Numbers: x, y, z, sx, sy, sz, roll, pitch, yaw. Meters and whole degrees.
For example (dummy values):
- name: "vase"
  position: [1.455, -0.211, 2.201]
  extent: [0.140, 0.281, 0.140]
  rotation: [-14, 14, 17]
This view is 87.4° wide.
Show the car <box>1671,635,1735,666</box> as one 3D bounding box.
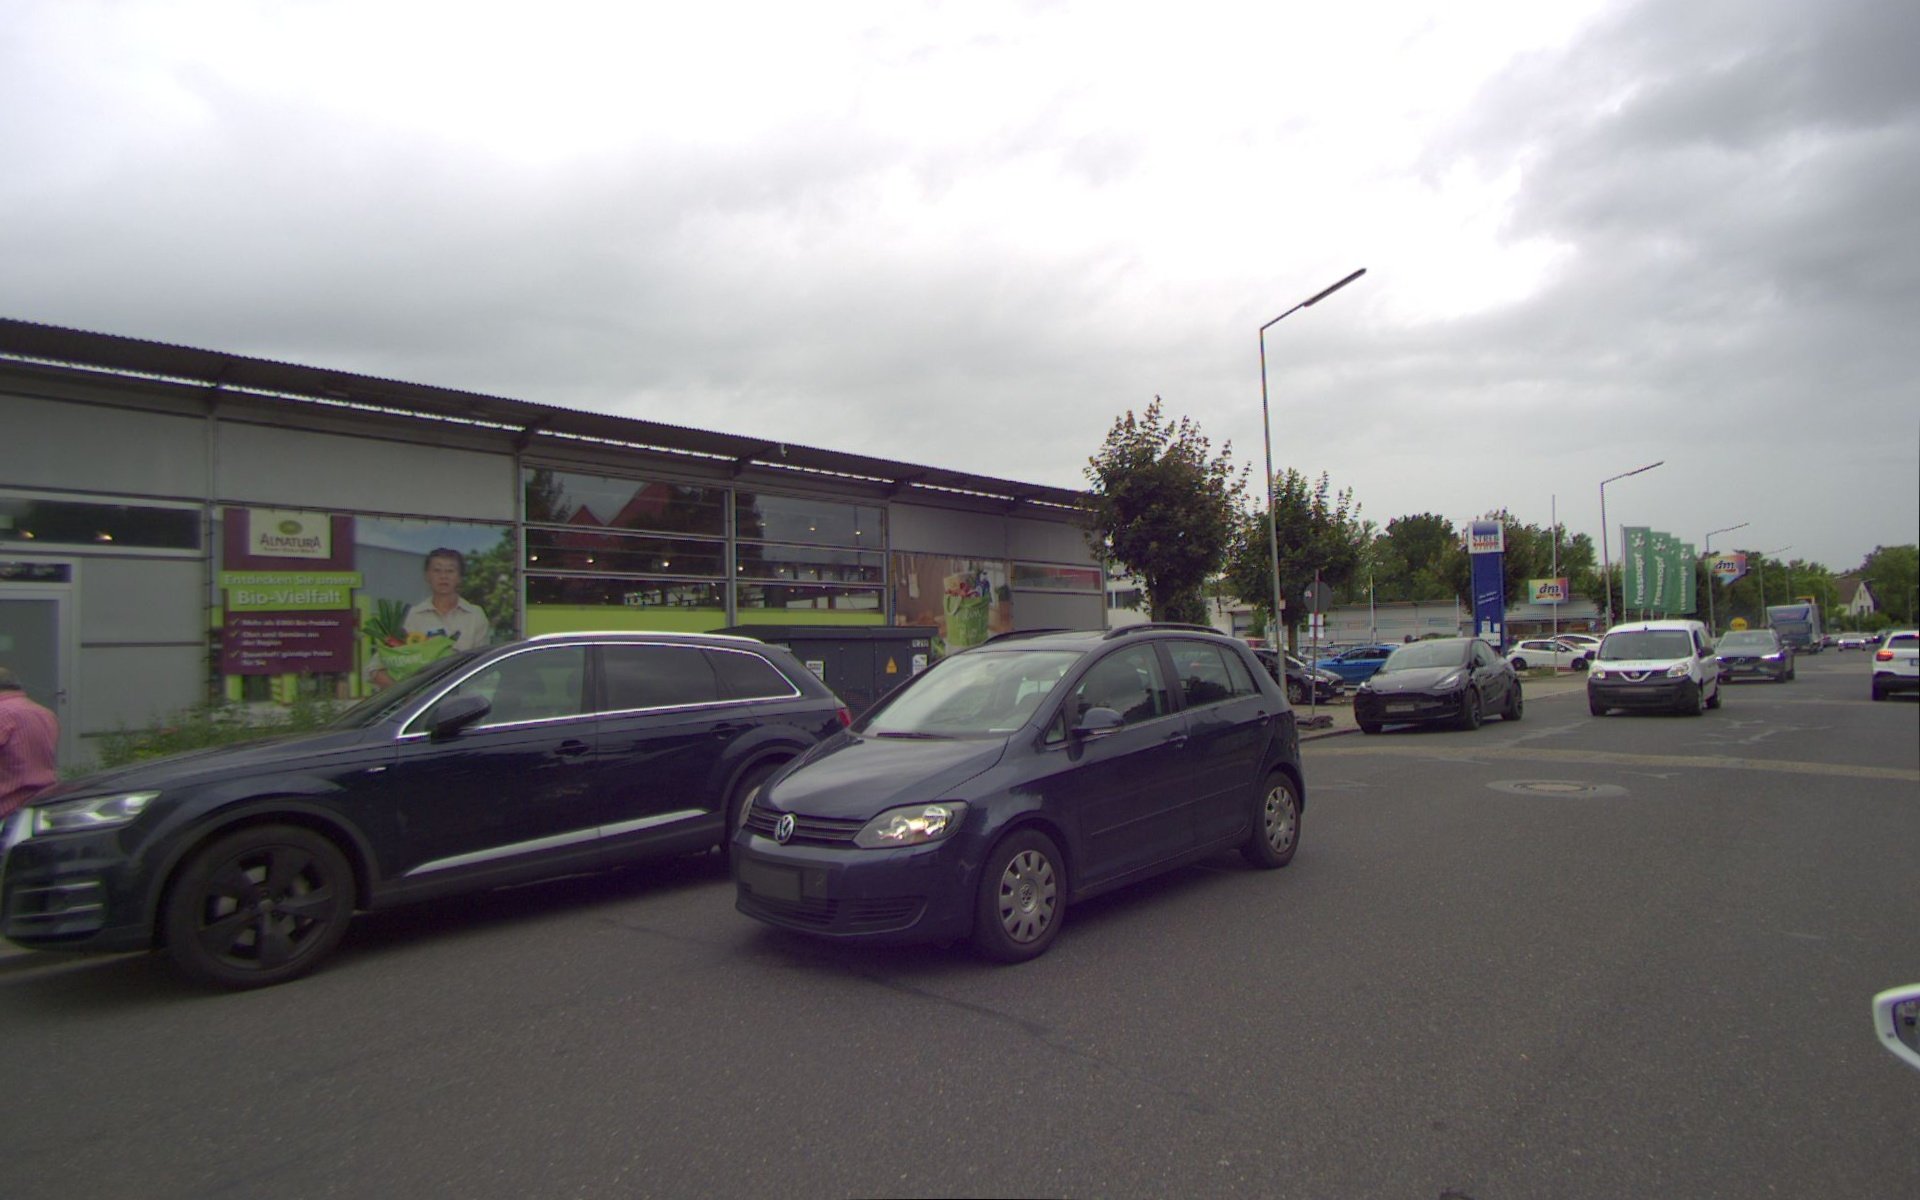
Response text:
- name: "car"
  position: [34.935, 2.356, 47.208]
  extent: [1.878, 1.385, 3.976]
  rotation: [-4, -4, 44]

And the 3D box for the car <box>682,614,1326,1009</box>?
- name: "car"
  position: [0.514, 0.955, 6.102]
  extent: [1.712, 1.592, 3.922]
  rotation: [-5, -5, 44]

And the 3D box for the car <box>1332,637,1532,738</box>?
- name: "car"
  position: [8.691, 1.542, 18.316]
  extent: [1.927, 1.545, 4.377]
  rotation: [-9, -8, 43]

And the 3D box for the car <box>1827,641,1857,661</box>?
- name: "car"
  position: [72.575, 4.178, 82.638]
  extent: [1.583, 1.547, 3.506]
  rotation: [-6, -6, 44]

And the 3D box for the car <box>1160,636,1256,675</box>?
- name: "car"
  position: [11.498, 2.598, 46.714]
  extent: [3.947, 1.690, 1.865]
  rotation: [-4, -4, 45]

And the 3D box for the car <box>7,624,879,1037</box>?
- name: "car"
  position: [-2.949, 1.106, 6.556]
  extent: [1.848, 1.712, 4.699]
  rotation: [-9, -7, 44]

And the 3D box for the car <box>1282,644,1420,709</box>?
- name: "car"
  position: [12.931, 2.515, 33.333]
  extent: [3.881, 2.040, 1.754]
  rotation: [-3, -3, 38]

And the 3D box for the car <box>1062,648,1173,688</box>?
- name: "car"
  position: [6.288, 2.733, 40.264]
  extent: [3.934, 1.504, 1.871]
  rotation: [-3, -4, 34]

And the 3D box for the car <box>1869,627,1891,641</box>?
- name: "car"
  position: [115.486, 4.310, 126.072]
  extent: [1.972, 1.706, 3.978]
  rotation: [-1, -3, 42]

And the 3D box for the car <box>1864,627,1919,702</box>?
- name: "car"
  position: [21.483, 1.381, 22.350]
  extent: [1.867, 1.552, 4.227]
  rotation: [-1, -2, 44]

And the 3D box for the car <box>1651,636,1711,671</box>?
- name: "car"
  position: [30.476, 2.262, 42.434]
  extent: [1.875, 1.385, 3.984]
  rotation: [-4, -4, 38]

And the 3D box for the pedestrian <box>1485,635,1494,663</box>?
- name: "pedestrian"
  position: [30.094, 2.801, 57.115]
  extent: [0.354, 1.590, 0.503]
  rotation: [-3, -3, 30]

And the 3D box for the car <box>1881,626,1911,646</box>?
- name: "car"
  position: [85.882, 3.303, 92.231]
  extent: [1.849, 1.683, 3.978]
  rotation: [-4, -4, 42]

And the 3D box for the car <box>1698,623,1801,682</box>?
- name: "car"
  position: [25.125, 1.649, 31.909]
  extent: [4.465, 1.705, 1.915]
  rotation: [2, -5, -44]

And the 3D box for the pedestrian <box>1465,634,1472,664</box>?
- name: "pedestrian"
  position: [29.487, 2.839, 58.243]
  extent: [0.259, 1.752, 0.421]
  rotation: [-3, -3, 32]

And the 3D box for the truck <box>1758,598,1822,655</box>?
- name: "truck"
  position: [61.965, 2.002, 74.944]
  extent: [2.944, 4.006, 6.365]
  rotation: [-5, -5, 44]

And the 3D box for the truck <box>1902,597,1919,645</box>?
- name: "truck"
  position: [77.387, 1.744, 80.091]
  extent: [3.101, 3.631, 9.995]
  rotation: [-1, -3, 42]

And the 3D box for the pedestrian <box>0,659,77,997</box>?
- name: "pedestrian"
  position: [-5.002, 1.158, 5.158]
  extent: [0.667, 1.641, 0.649]
  rotation: [-9, -7, 44]

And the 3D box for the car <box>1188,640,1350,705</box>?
- name: "car"
  position: [8.426, 1.923, 27.575]
  extent: [3.834, 1.642, 1.915]
  rotation: [-2, -2, 45]

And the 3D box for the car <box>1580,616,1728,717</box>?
- name: "car"
  position: [13.742, 1.283, 19.812]
  extent: [1.673, 1.783, 4.110]
  rotation: [-6, -5, 43]

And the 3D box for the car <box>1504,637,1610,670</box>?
- name: "car"
  position: [28.380, 2.558, 47.787]
  extent: [4.150, 1.482, 1.946]
  rotation: [-4, -4, 37]

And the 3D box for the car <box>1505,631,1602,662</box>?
- name: "car"
  position: [30.778, 2.416, 52.170]
  extent: [4.086, 1.482, 1.890]
  rotation: [-4, -4, 39]

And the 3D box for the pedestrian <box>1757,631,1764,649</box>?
- name: "pedestrian"
  position: [70.178, 3.484, 88.090]
  extent: [0.397, 1.551, 0.483]
  rotation: [-3, -3, 38]

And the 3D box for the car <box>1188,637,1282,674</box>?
- name: "car"
  position: [13.277, 2.681, 48.578]
  extent: [3.947, 1.690, 1.865]
  rotation: [-4, -4, 45]

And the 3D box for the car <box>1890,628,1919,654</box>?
- name: "car"
  position: [53.530, 2.299, 56.330]
  extent: [1.917, 1.385, 3.977]
  rotation: [-5, -4, 43]

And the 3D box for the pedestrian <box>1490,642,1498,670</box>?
- name: "pedestrian"
  position: [30.634, 3.207, 57.583]
  extent: [0.325, 1.590, 0.503]
  rotation: [-3, -3, 30]

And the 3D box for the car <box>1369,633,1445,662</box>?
- name: "car"
  position: [28.218, 3.022, 63.439]
  extent: [3.947, 1.690, 1.865]
  rotation: [-4, -4, 45]

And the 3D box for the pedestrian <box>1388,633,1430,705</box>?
- name: "pedestrian"
  position: [11.056, 1.683, 24.730]
  extent: [0.766, 1.738, 0.694]
  rotation: [-2, -3, 40]
